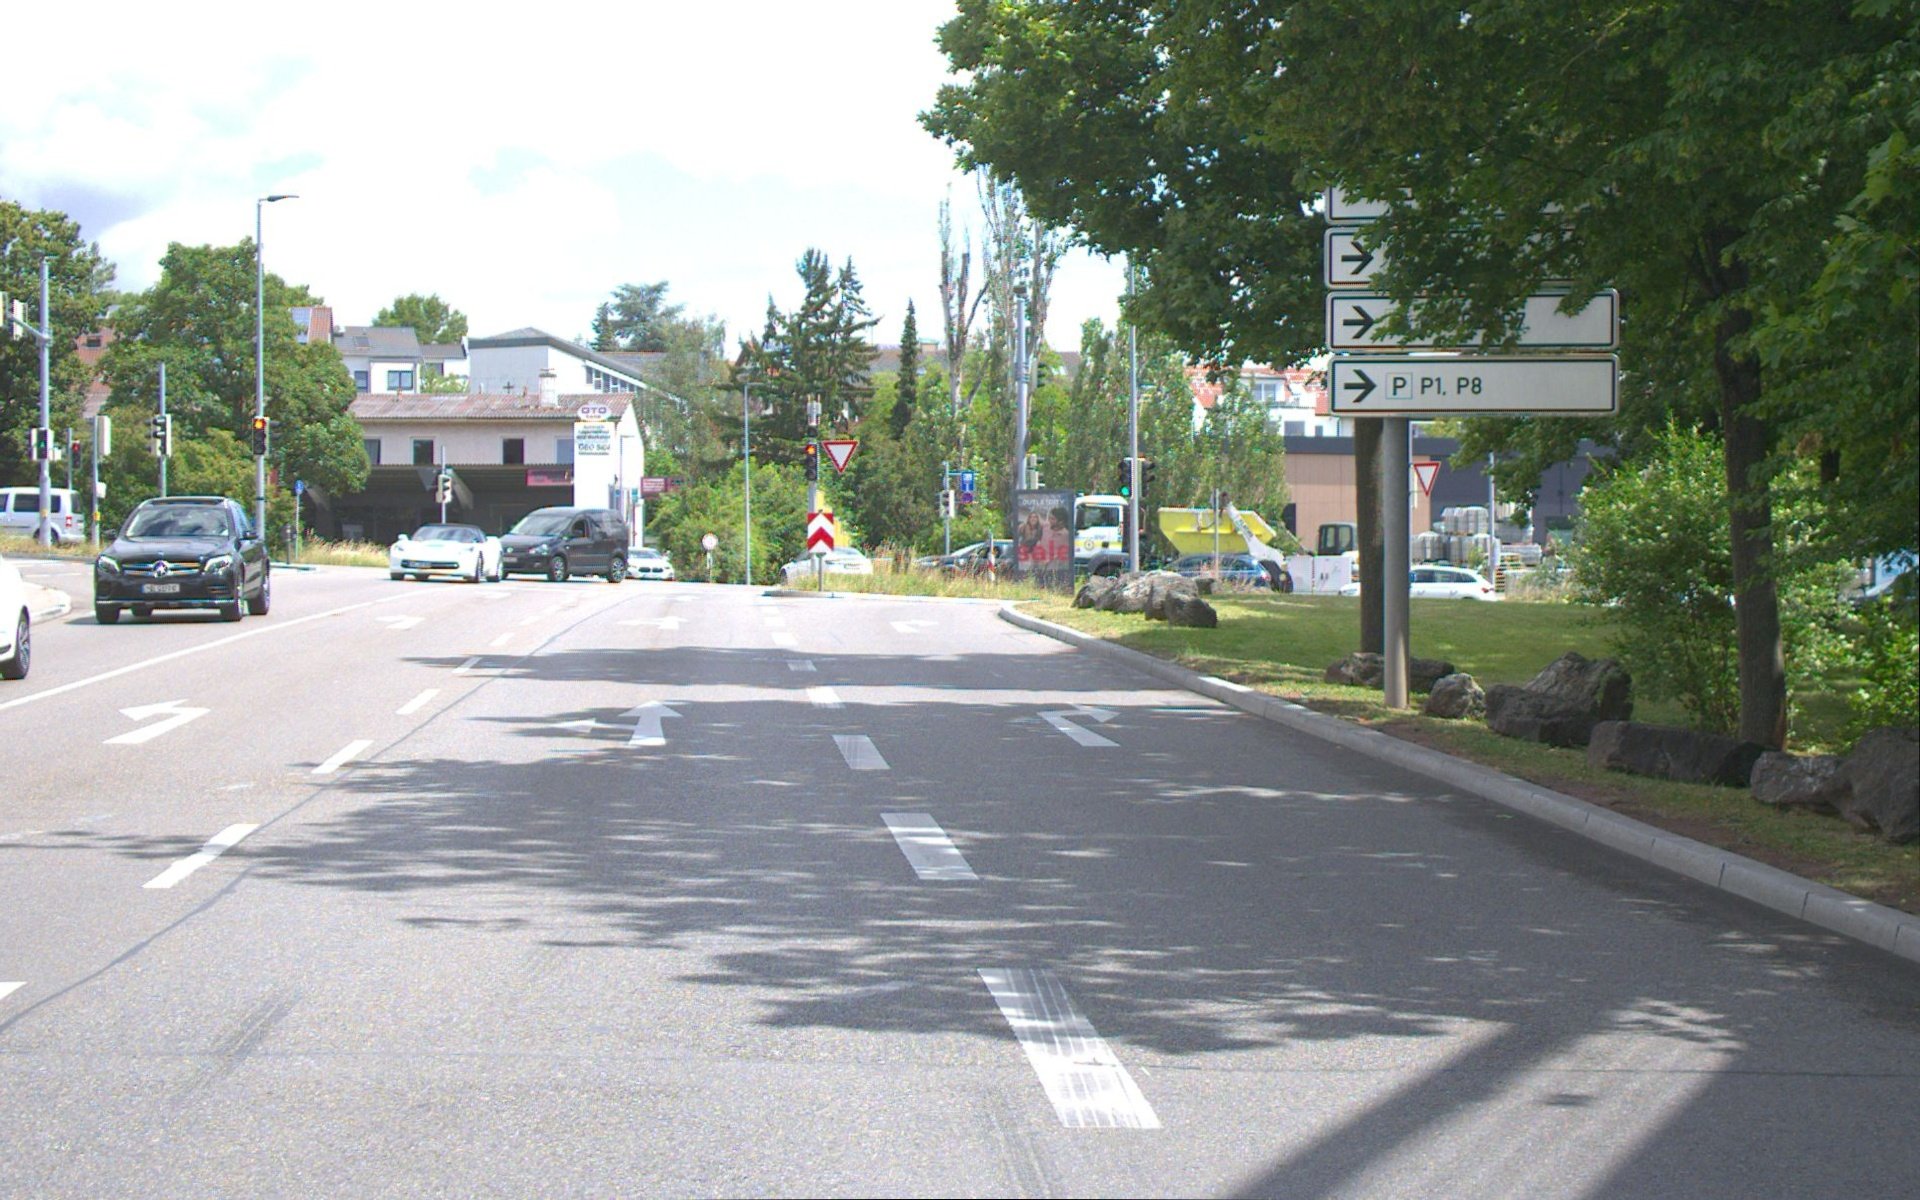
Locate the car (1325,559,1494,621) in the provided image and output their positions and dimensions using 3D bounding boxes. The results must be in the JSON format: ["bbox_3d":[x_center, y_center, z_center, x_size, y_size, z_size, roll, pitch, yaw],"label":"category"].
[{"bbox_3d":[12.298,-0.282,94.306,4.364,1.464,1.622,3,1,1],"label":"car"}]

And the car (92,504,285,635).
[{"bbox_3d":[-10.385,-0.448,46.562,1.821,1.648,4.534,-1,1,-3],"label":"car"}]

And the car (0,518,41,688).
[{"bbox_3d":[-8.974,0.046,28.808,1.766,1.437,3.901,-1,1,-5],"label":"car"}]

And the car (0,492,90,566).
[{"bbox_3d":[-27.187,-2.007,98.520,3.987,2.007,2.000,-2,0,-1],"label":"car"}]

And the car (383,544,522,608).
[{"bbox_3d":[-10.818,-0.527,73.558,1.905,1.287,4.609,-1,1,5],"label":"car"}]

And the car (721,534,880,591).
[{"bbox_3d":[-5.149,-1.196,110.741,4.801,1.773,1.788,0,-1,23],"label":"car"}]

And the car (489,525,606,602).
[{"bbox_3d":[-9.968,-0.859,83.372,1.785,1.773,4.810,1,0,6],"label":"car"}]

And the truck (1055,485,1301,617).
[{"bbox_3d":[6.371,-1.427,101.157,6.944,3.567,2.847,-2,0,0],"label":"truck"}]

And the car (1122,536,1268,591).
[{"bbox_3d":[6.636,-1.020,97.513,3.987,1.395,1.697,2,0,1],"label":"car"}]

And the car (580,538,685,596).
[{"bbox_3d":[-11.231,-1.121,117.882,1.899,1.853,3.810,-2,0,-35],"label":"car"}]
